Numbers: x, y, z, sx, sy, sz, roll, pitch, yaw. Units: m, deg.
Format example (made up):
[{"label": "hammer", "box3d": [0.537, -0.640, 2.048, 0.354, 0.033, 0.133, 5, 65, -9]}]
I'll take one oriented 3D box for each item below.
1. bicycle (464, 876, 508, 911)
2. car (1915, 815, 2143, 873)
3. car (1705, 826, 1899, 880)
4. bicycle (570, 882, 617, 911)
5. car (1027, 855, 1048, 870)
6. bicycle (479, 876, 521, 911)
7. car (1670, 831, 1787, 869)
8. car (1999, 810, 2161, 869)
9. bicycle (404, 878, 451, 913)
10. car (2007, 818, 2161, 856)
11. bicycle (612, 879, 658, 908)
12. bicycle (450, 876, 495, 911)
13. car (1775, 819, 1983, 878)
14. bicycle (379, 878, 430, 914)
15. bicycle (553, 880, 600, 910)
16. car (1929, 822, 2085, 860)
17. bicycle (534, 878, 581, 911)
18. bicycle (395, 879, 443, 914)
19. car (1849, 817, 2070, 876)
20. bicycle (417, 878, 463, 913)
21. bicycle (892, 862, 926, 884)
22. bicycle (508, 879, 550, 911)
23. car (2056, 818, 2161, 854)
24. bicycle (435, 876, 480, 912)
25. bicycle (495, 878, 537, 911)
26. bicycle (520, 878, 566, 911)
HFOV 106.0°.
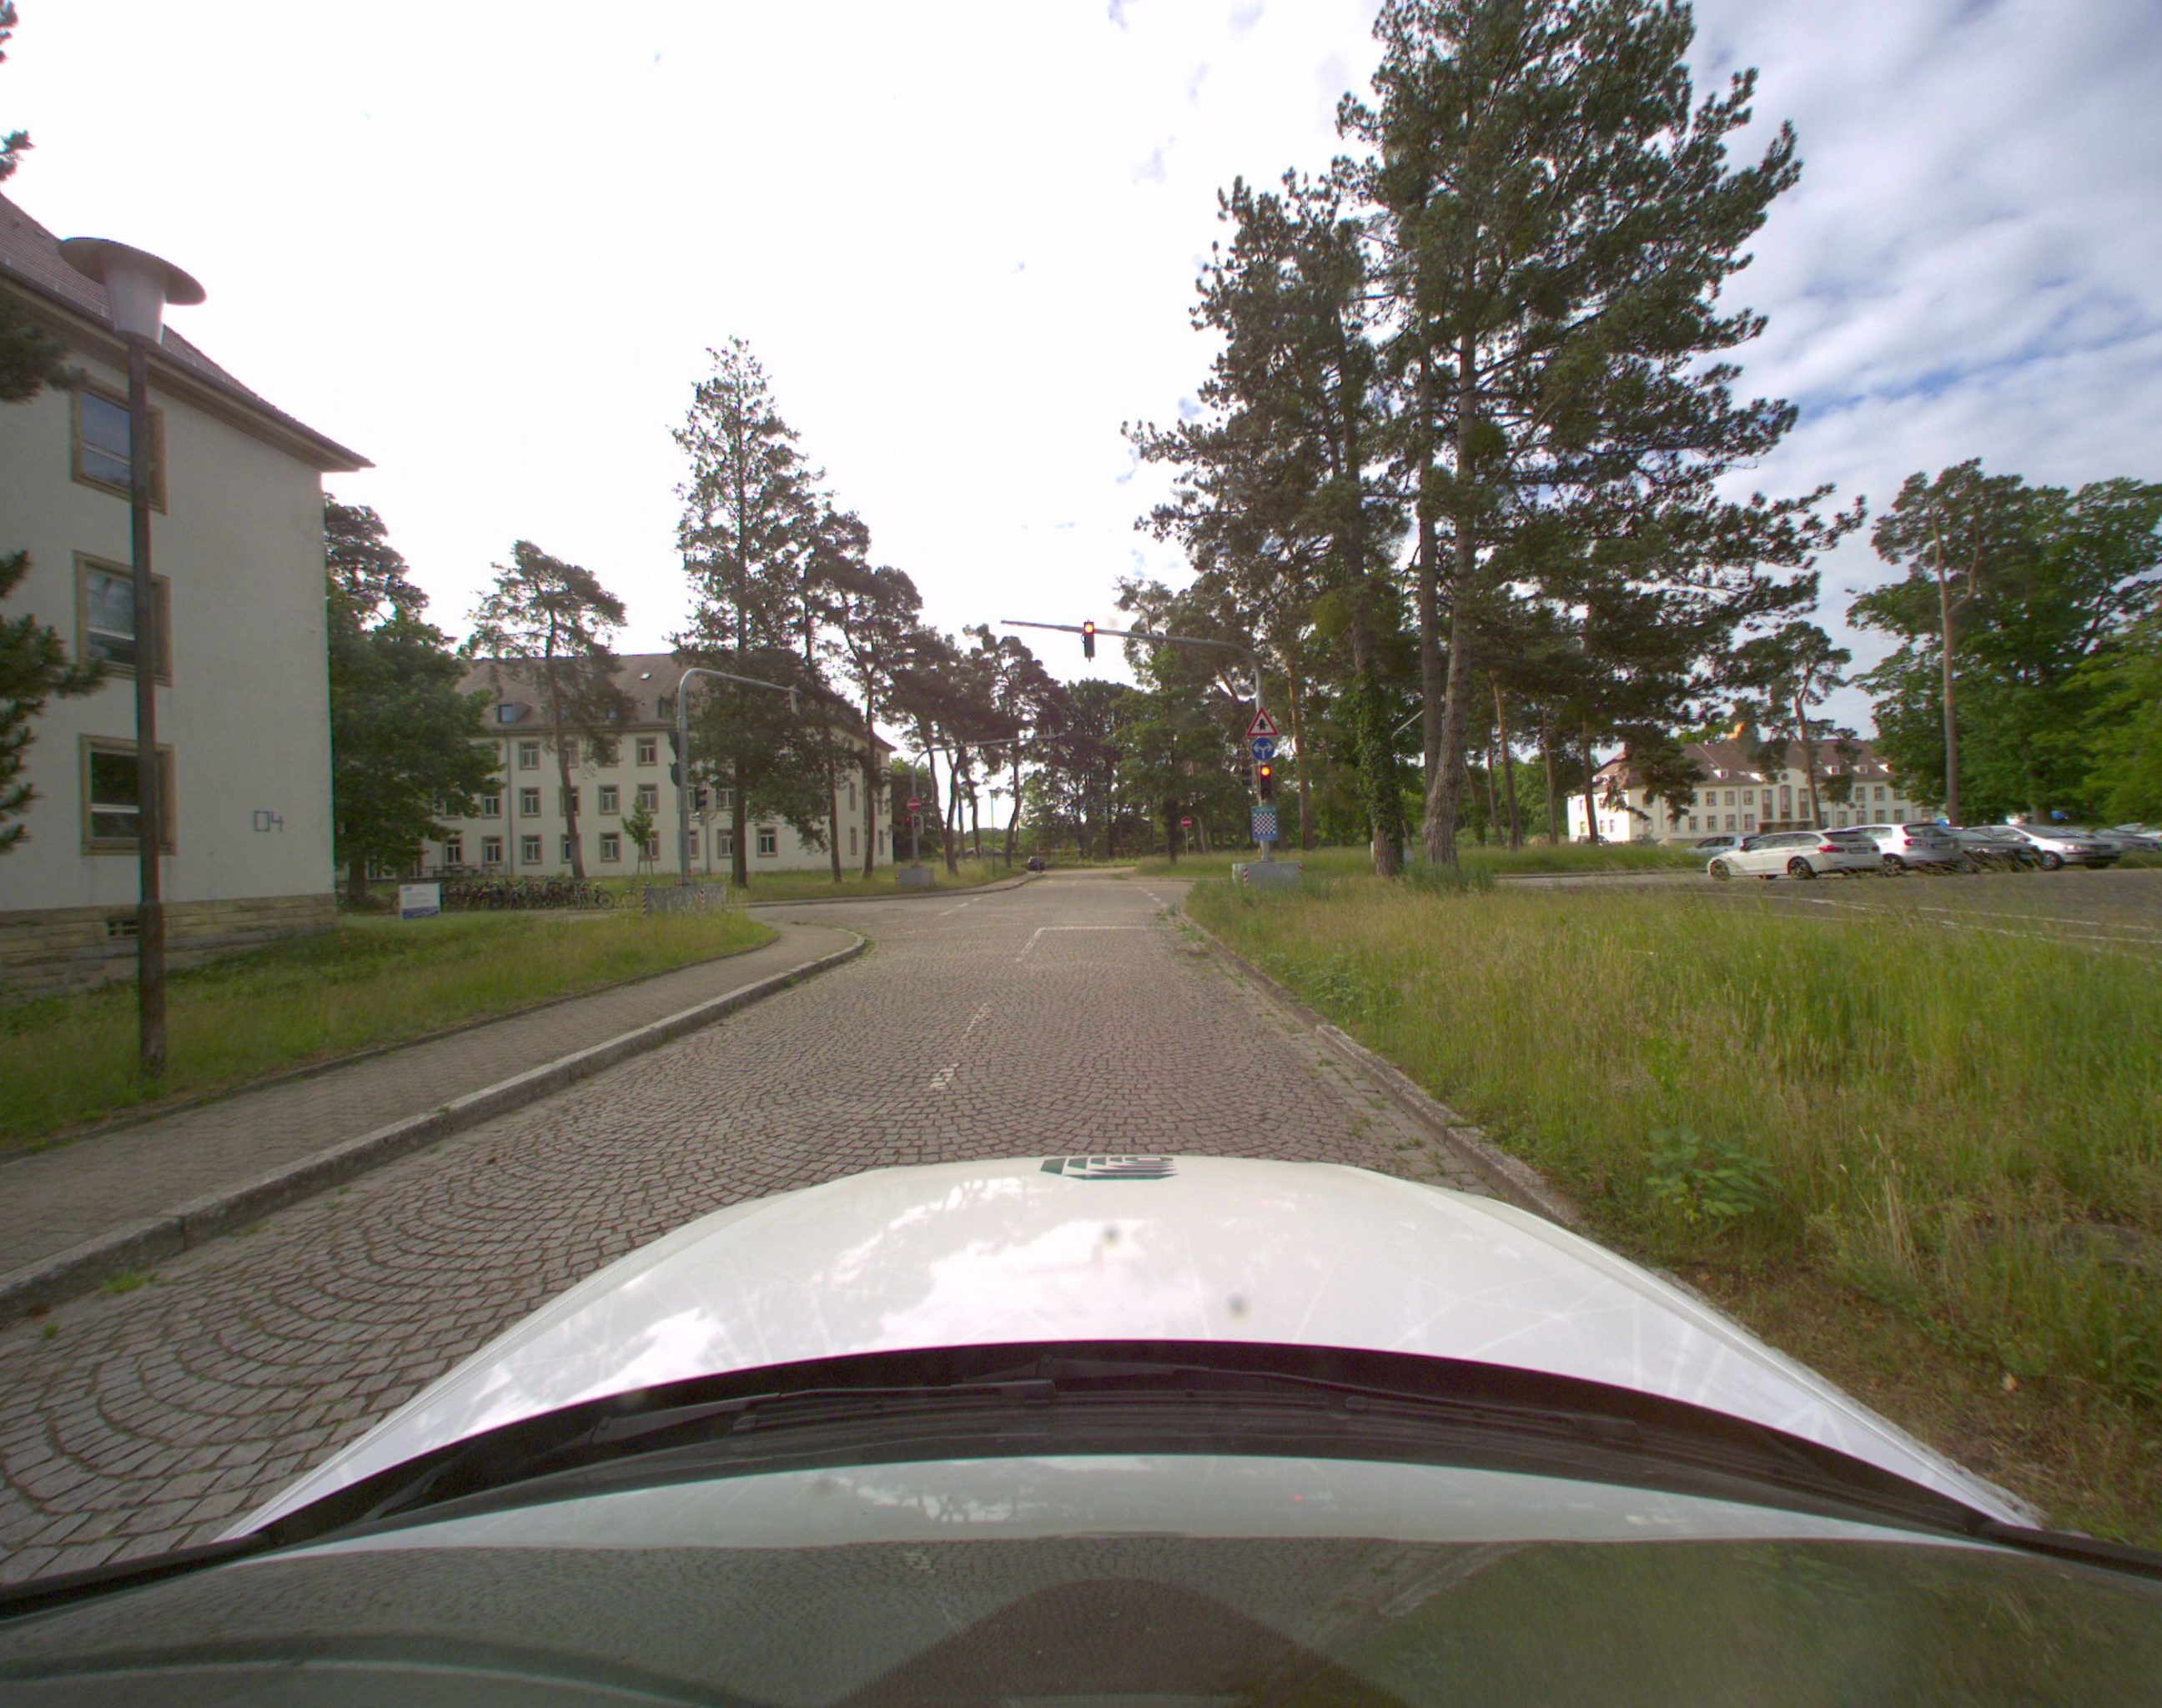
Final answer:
[{"label": "bicycle", "box3d": [-23.359, 1.541, 32.017, 0.447, 1.283, 1.695, -2, 0, -1]}, {"label": "car", "box3d": [29.348, -0.281, 25.469, 1.862, 1.577, 4.443, -2, 0, -3]}, {"label": "car", "box3d": [21.410, 0.006, 24.483, 1.748, 1.415, 4.443, -2, -1, -3]}, {"label": "bicycle", "box3d": [-18.337, 1.595, 30.652, 1.454, 0.996, 0.452, -2, 0, 1]}, {"label": "car", "box3d": [-4.663, 0.880, 87.992, 1.986, 1.508, 4.002, 0, 0, 2]}, {"label": "bicycle", "box3d": [-22.854, 1.535, 32.062, 0.447, 1.283, 1.695, -2, 0, -1]}, {"label": "car", "box3d": [28.764, -0.157, 36.377, 1.746, 1.524, 4.450, -2, 0, 2]}, {"label": "car", "box3d": [31.999, -0.443, 25.274, 1.862, 1.686, 4.443, -2, 0, -3]}, {"label": "bicycle", "box3d": [-25.587, 1.617, 31.894, 0.447, 1.283, 1.695, -2, 0, -1]}, {"label": "car", "box3d": [43.940, -0.714, 35.597, 1.748, 1.524, 4.443, -2, 0, -3]}, {"label": "bicycle", "box3d": [-16.813, 1.486, 30.686, 1.454, 0.996, 0.452, -2, 0, 1]}, {"label": "bicycle", "box3d": [-23.874, 1.546, 31.970, 0.447, 1.283, 1.695, -2, 0, -1]}, {"label": "car", "box3d": [23.987, -0.149, 24.763, 1.862, 1.577, 4.443, -2, 0, -3]}, {"label": "bicycle", "box3d": [-26.520, 1.629, 31.952, 0.447, 1.283, 1.827, -2, 0, -1]}, {"label": "bicycle", "box3d": [-19.863, 1.602, 32.104, 0.573, 1.078, 1.996, -2, 0, -1]}, {"label": "car", "box3d": [40.962, -0.558, 36.207, 1.748, 1.524, 4.443, -2, 0, -3]}, {"label": "bicycle", "box3d": [-20.558, 1.562, 32.003, 0.573, 1.178, 1.953, -2, 0, -1]}, {"label": "bicycle", "box3d": [-26.056, 1.644, 32.089, 0.441, 1.283, 1.784, -2, 0, -1]}, {"label": "car", "box3d": [26.671, -0.216, 24.990, 1.862, 1.577, 4.443, -2, 0, -3]}, {"label": "bicycle", "box3d": [-25.100, 1.612, 31.910, 0.447, 1.283, 1.695, -2, 0, -1]}, {"label": "bicycle", "box3d": [-8.048, 0.892, 38.121, 1.457, 0.996, 0.451, -2, 0, -6]}, {"label": "bicycle", "box3d": [-21.654, 1.587, 31.985, 0.447, 1.178, 1.695, -2, 0, -1]}, {"label": "car", "box3d": [46.891, -0.807, 36.169, 1.748, 1.524, 4.443, -2, 0, -3]}, {"label": "bicycle", "box3d": [-24.437, 1.552, 31.942, 0.447, 1.283, 1.695, -2, 0, -1]}, {"label": "bicycle", "box3d": [-22.140, 1.579, 31.961, 0.447, 1.178, 1.695, -2, 0, -1]}, {"label": "bicycle", "box3d": [-21.142, 1.569, 32.046, 0.526, 1.178, 1.930, -2, 0, -1]}]
